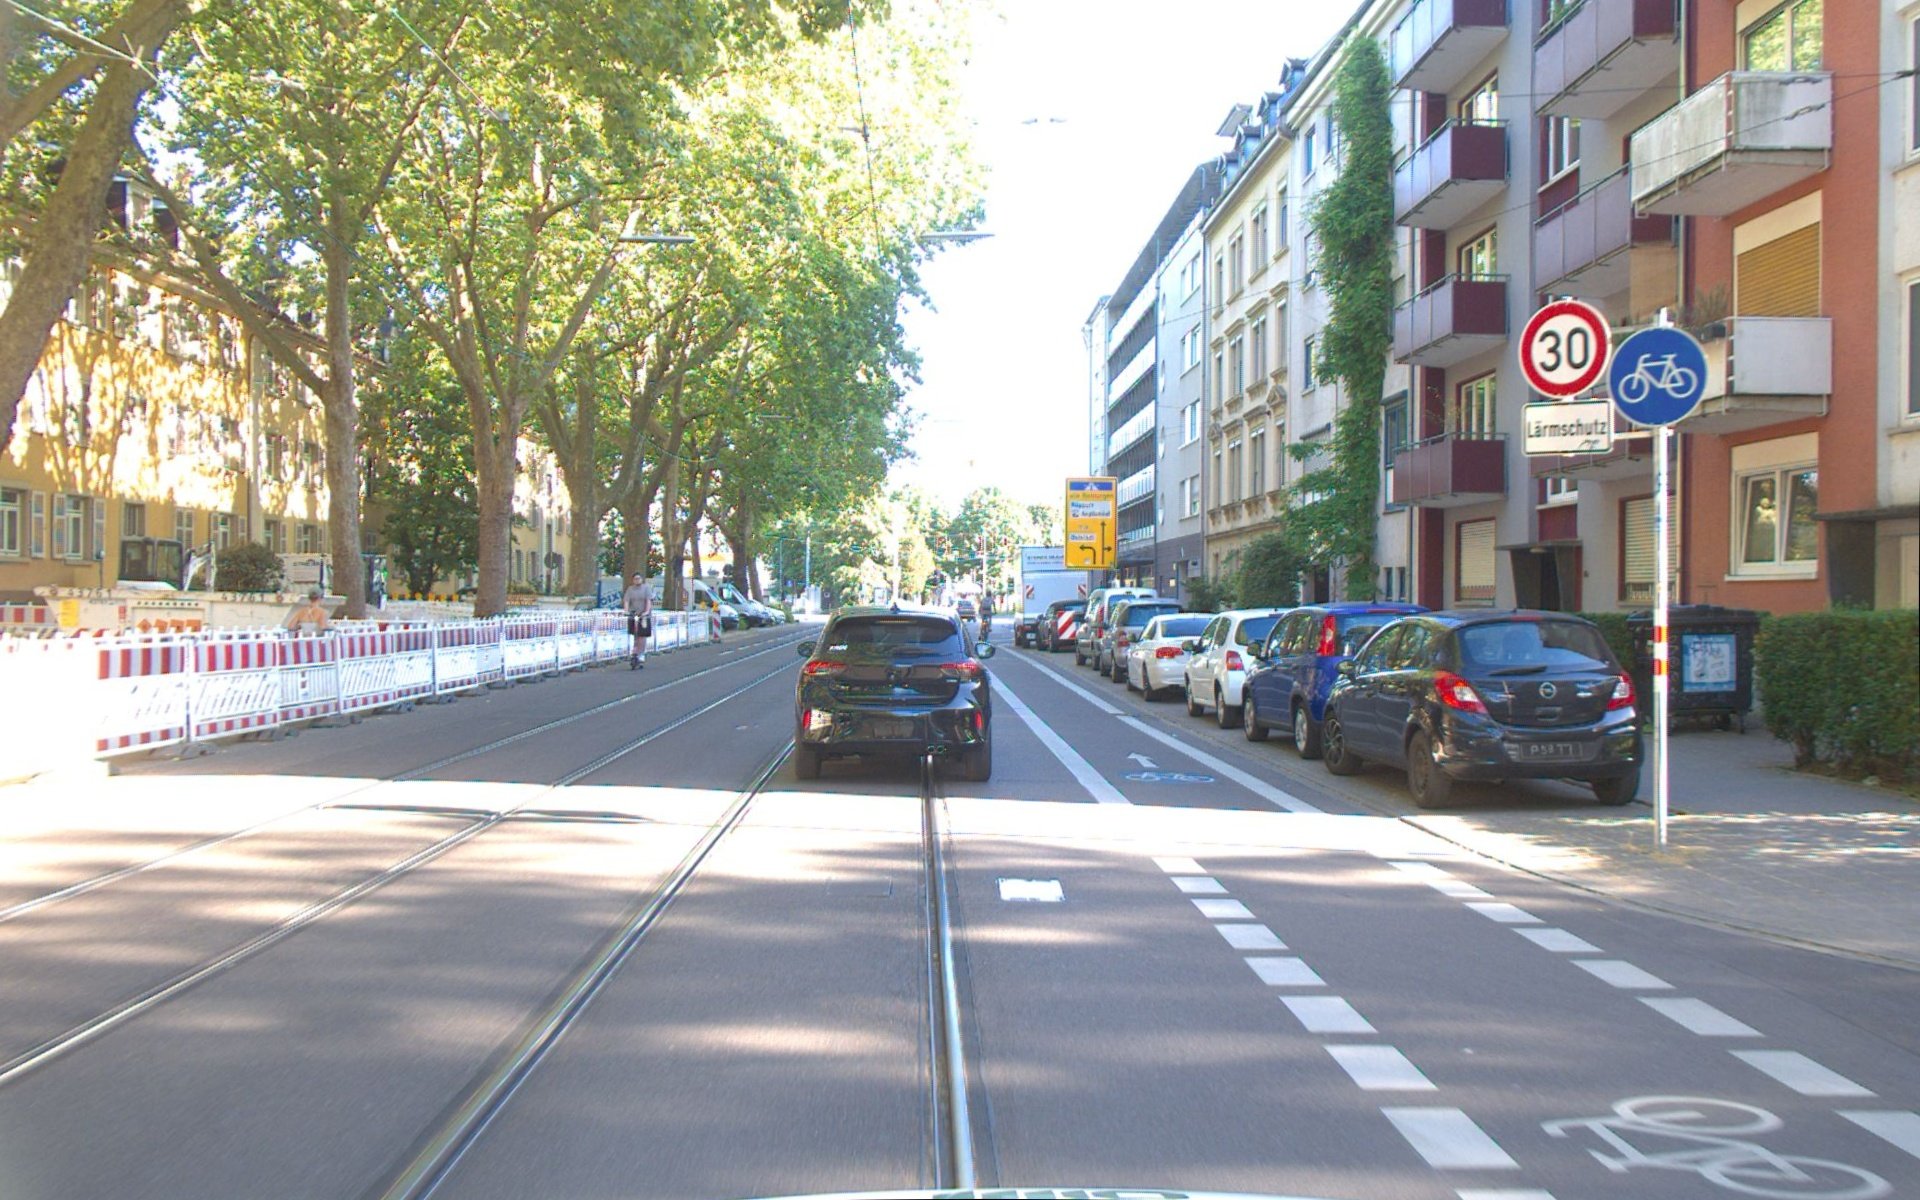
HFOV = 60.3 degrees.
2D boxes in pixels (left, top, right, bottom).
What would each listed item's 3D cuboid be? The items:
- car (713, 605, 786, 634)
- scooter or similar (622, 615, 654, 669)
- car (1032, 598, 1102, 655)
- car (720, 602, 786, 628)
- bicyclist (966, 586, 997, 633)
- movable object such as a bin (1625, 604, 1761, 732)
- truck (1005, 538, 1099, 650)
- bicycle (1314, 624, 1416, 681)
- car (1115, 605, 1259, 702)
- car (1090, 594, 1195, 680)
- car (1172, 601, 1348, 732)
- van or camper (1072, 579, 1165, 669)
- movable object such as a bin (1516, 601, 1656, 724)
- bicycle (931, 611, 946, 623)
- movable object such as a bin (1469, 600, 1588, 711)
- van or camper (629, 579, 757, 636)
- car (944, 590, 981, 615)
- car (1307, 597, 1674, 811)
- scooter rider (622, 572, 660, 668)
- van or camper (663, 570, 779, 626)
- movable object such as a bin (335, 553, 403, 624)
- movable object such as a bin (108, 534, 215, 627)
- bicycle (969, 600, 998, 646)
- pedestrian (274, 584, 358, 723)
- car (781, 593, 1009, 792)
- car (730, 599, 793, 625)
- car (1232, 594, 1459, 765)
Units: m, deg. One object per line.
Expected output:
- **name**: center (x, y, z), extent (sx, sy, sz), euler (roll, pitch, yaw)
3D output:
- **car**: center (-12.001, 1.116, 94.475), extent (3.905, 1.541, 1.649), euler (2, -1, -1)
- **scooter or similar**: center (-6.760, 0.876, 34.742), extent (0.399, 1.102, 1.338), euler (2, -1, -1)
- **car**: center (3.135, 0.762, 49.219), extent (1.695, 1.584, 4.150), euler (-2, 0, -1)
- **car**: center (-13.058, 0.932, 104.641), extent (3.905, 1.541, 1.649), euler (2, -1, -1)
- **bicyclist**: center (0.786, 0.330, 60.189), extent (1.066, 1.676, 1.401), euler (1, 0, 2)
- **movable object such as a bin**: center (8.063, 0.738, 18.223), extent (1.129, 1.350, 0.775), euler (2, -1, -1)
- **truck**: center (2.962, -0.161, 55.100), extent (2.487, 3.396, 7.193), euler (-2, 0, -1)
- **bicycle**: center (7.834, 1.022, 32.033), extent (1.854, 1.047, 0.476), euler (-1, 0, 3)
- **car**: center (3.743, 0.838, 28.056), extent (1.626, 1.424, 4.738), euler (-1, 0, -2)
- **car**: center (3.580, 0.690, 33.005), extent (1.626, 1.608, 3.588), euler (-1, 0, -1)
- **car**: center (3.905, 0.825, 22.095), extent (1.559, 1.553, 3.834), euler (-1, 0, -1)
- **van or camper**: center (3.580, 0.515, 37.906), extent (1.635, 1.916, 4.210), euler (-1, 0, -1)
- **movable object such as a bin**: center (7.342, 0.709, 19.485), extent (0.947, 1.350, 1.721), euler (2, -1, -1)
- **bicycle**: center (-1.878, 1.520, 145.460), extent (0.771, 1.009, 2.245), euler (1, -1, 15)
- **movable object such as a bin**: center (7.288, 0.692, 21.280), extent (0.905, 1.350, 1.681), euler (2, -1, -1)
- **van or camper**: center (-12.197, 0.326, 75.772), extent (5.387, 2.421, 2.270), euler (2, -1, 2)
- **car**: center (0.162, 0.198, 120.920), extent (1.957, 1.725, 4.730), euler (-1, 0, -9)
- **car**: center (4.236, 0.743, 13.877), extent (1.698, 1.487, 3.915), euler (-1, 0, -2)
- **scooter rider**: center (-6.716, 0.421, 34.817), extent (0.636, 1.991, 0.624), euler (2, -1, -1)
- **van or camper**: center (-12.264, -0.076, 85.212), extent (5.608, 2.690, 2.269), euler (2, -1, -1)
- **movable object such as a bin**: center (-14.481, -0.280, 40.552), extent (1.075, 1.674, 1.559), euler (2, -1, -2)
- **movable object such as a bin**: center (-17.121, -0.395, 35.534), extent (1.306, 1.901, 2.007), euler (2, -1, -2)
- **bicycle**: center (0.872, 0.804, 60.198), extent (0.897, 1.588, 3.406), euler (1, 0, 2)
- **pedestrian**: center (-8.067, 0.659, 20.751), extent (0.702, 1.698, 0.778), euler (2, -1, -1)
- **car**: center (-0.564, 0.716, 14.873), extent (1.745, 1.522, 3.999), euler (1, 0, -2)
- **car**: center (-13.318, 0.820, 111.216), extent (4.086, 1.700, 1.963), euler (0, 0, -5)
- **car**: center (4.056, 0.785, 17.946), extent (1.495, 1.618, 3.751), euler (2, 0, -1)
